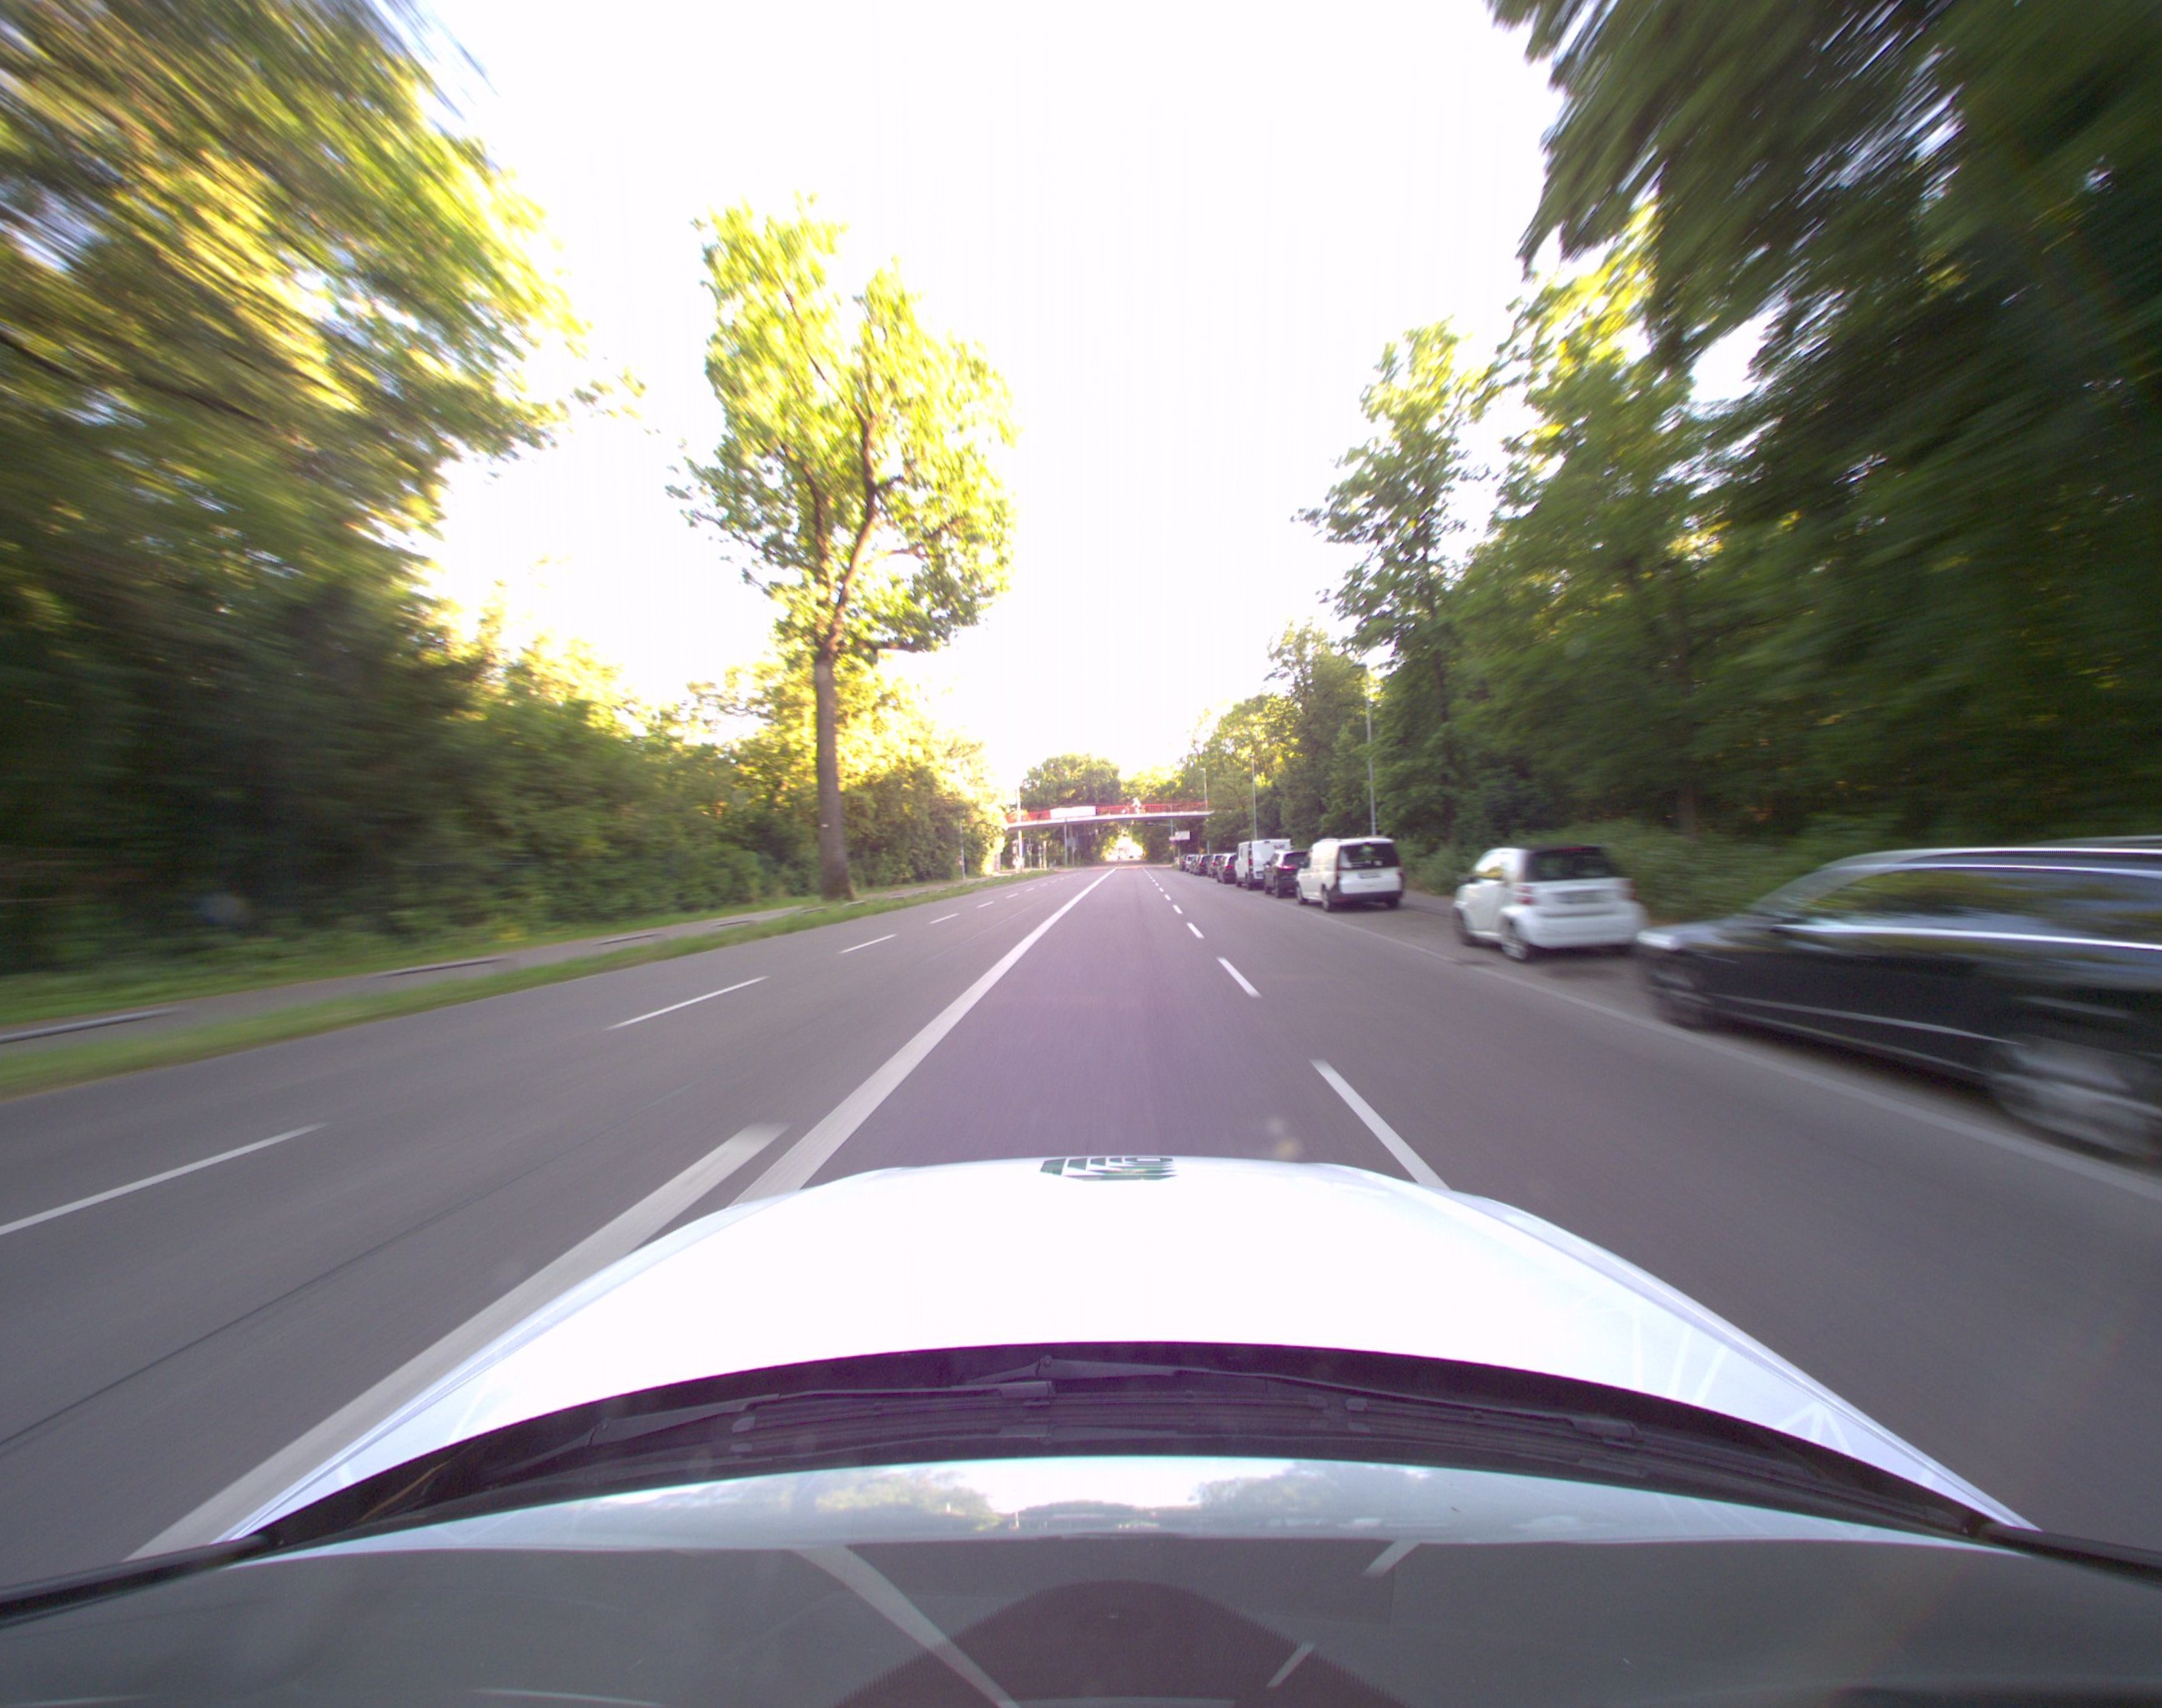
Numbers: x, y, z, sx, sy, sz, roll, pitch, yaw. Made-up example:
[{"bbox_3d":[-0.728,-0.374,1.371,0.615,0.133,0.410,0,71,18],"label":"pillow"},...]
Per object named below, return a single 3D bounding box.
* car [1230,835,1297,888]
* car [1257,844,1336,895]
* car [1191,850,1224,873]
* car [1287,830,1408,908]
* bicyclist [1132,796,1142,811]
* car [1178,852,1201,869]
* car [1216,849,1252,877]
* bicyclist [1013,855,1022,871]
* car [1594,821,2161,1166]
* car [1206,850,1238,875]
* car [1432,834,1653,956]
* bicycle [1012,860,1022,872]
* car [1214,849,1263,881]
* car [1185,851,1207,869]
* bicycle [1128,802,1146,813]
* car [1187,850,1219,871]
[{"bbox_3d":[7.625,0.295,34.464,1.860,1.981,5.480,-3,-1,4],"label":"car"},{"bbox_3d":[7.326,0.497,28.139,1.751,1.547,4.433,-3,-1,4],"label":"car"},{"bbox_3d":[8.830,0.537,57.229,1.631,1.453,4.900,-3,-1,2],"label":"car"},{"bbox_3d":[6.966,0.374,21.818,1.752,1.804,4.739,-3,-1,2],"label":"car"},{"bbox_3d":[6.132,-5.512,89.240,0.966,1.586,0.714,0,-1,1],"label":"bicyclist"},{"bbox_3d":[9.915,0.572,74.548,1.766,1.453,4.392,-3,-1,4],"label":"car"},{"bbox_3d":[8.618,0.499,46.200,1.578,1.453,3.803,-3,-1,5],"label":"car"},{"bbox_3d":[-6.120,0.863,78.162,0.709,1.559,1.143,0,-1,3],"label":"bicyclist"},{"bbox_3d":[5.752,0.607,5.309,1.752,1.535,4.991,-3,-1,2],"label":"car"},{"bbox_3d":[8.769,0.508,50.856,1.578,1.453,3.947,-3,-1,4],"label":"car"},{"bbox_3d":[6.565,0.535,11.970,1.578,1.495,3.184,-3,-1,5],"label":"car"},{"bbox_3d":[-6.105,1.167,78.156,0.709,1.147,1.995,0,-1,3],"label":"bicycle"},{"bbox_3d":[7.865,0.541,41.056,1.860,1.406,4.373,-3,-1,4],"label":"car"},{"bbox_3d":[9.871,0.509,70.131,1.765,1.453,4.021,-3,-1,6],"label":"car"},{"bbox_3d":[6.122,-5.121,89.231,1.979,1.147,0.714,0,-1,1],"label":"bicycle"},{"bbox_3d":[9.332,0.489,62.652,1.767,1.453,5.040,-3,-1,2],"label":"car"}]
